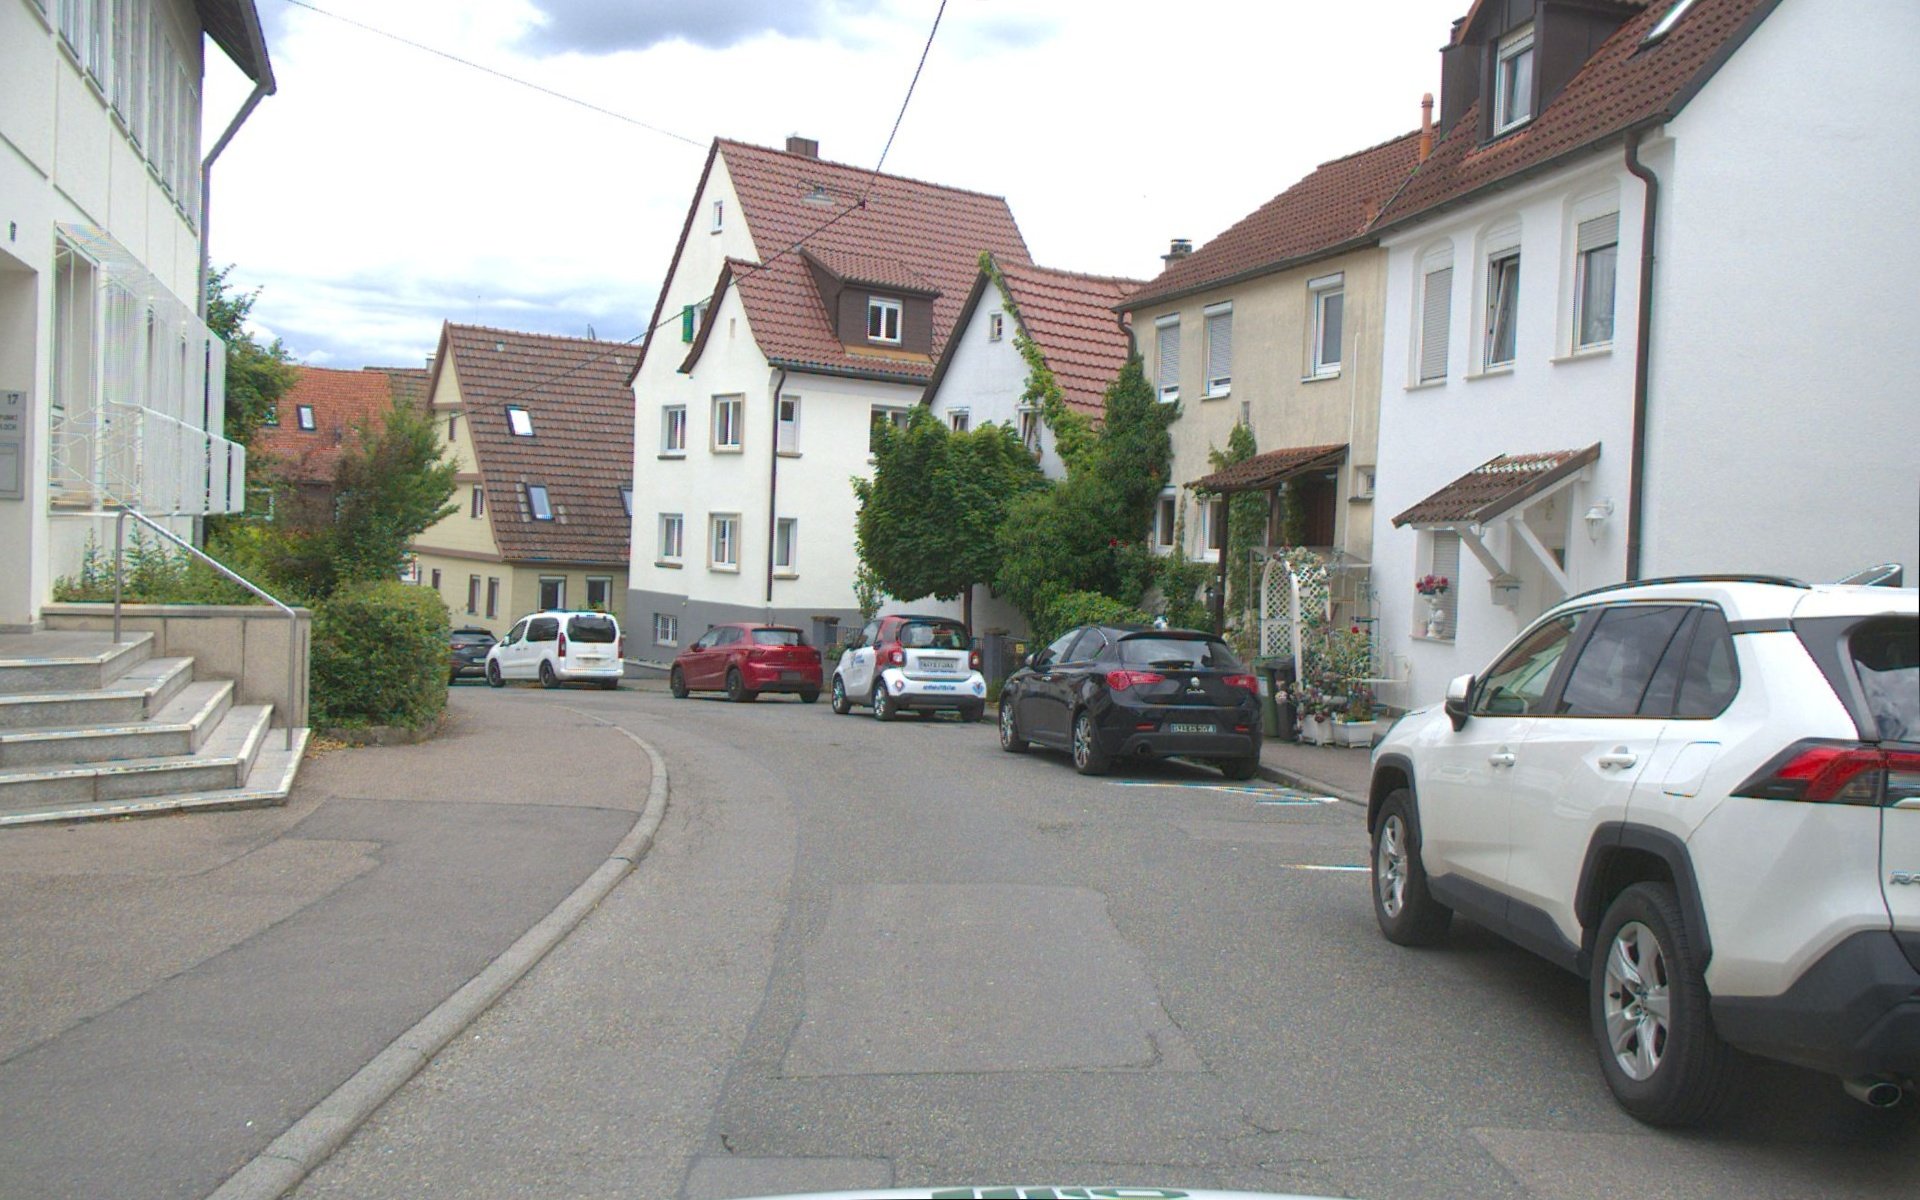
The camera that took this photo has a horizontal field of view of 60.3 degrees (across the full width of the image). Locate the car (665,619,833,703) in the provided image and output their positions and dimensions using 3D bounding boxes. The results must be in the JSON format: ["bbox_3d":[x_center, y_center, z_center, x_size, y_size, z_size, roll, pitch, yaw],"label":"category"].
[{"bbox_3d":[-4.073,1.158,31.490,1.664,1.477,3.806,2,-3,-33],"label":"car"}]

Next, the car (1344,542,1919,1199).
[{"bbox_3d":[3.040,0.721,6.362,1.907,1.668,4.459,3,1,-2],"label":"car"}]

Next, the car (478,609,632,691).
[{"bbox_3d":[-9.757,1.211,39.684,1.825,1.846,4.238,3,-3,-41],"label":"car"}]

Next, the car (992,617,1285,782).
[{"bbox_3d":[1.702,0.945,17.184,1.689,1.431,3.987,3,-1,-15],"label":"car"}]

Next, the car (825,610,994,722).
[{"bbox_3d":[-0.830,1.001,25.458,1.590,1.559,2.875,4,-3,-24],"label":"car"}]

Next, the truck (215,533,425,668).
[{"bbox_3d":[-18.982,0.112,48.788,7.966,3.661,2.666,-2,-2,44],"label":"truck"}]

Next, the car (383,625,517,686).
[{"bbox_3d":[-13.450,1.481,43.556,1.725,1.533,3.984,3,-4,-45],"label":"car"}]
